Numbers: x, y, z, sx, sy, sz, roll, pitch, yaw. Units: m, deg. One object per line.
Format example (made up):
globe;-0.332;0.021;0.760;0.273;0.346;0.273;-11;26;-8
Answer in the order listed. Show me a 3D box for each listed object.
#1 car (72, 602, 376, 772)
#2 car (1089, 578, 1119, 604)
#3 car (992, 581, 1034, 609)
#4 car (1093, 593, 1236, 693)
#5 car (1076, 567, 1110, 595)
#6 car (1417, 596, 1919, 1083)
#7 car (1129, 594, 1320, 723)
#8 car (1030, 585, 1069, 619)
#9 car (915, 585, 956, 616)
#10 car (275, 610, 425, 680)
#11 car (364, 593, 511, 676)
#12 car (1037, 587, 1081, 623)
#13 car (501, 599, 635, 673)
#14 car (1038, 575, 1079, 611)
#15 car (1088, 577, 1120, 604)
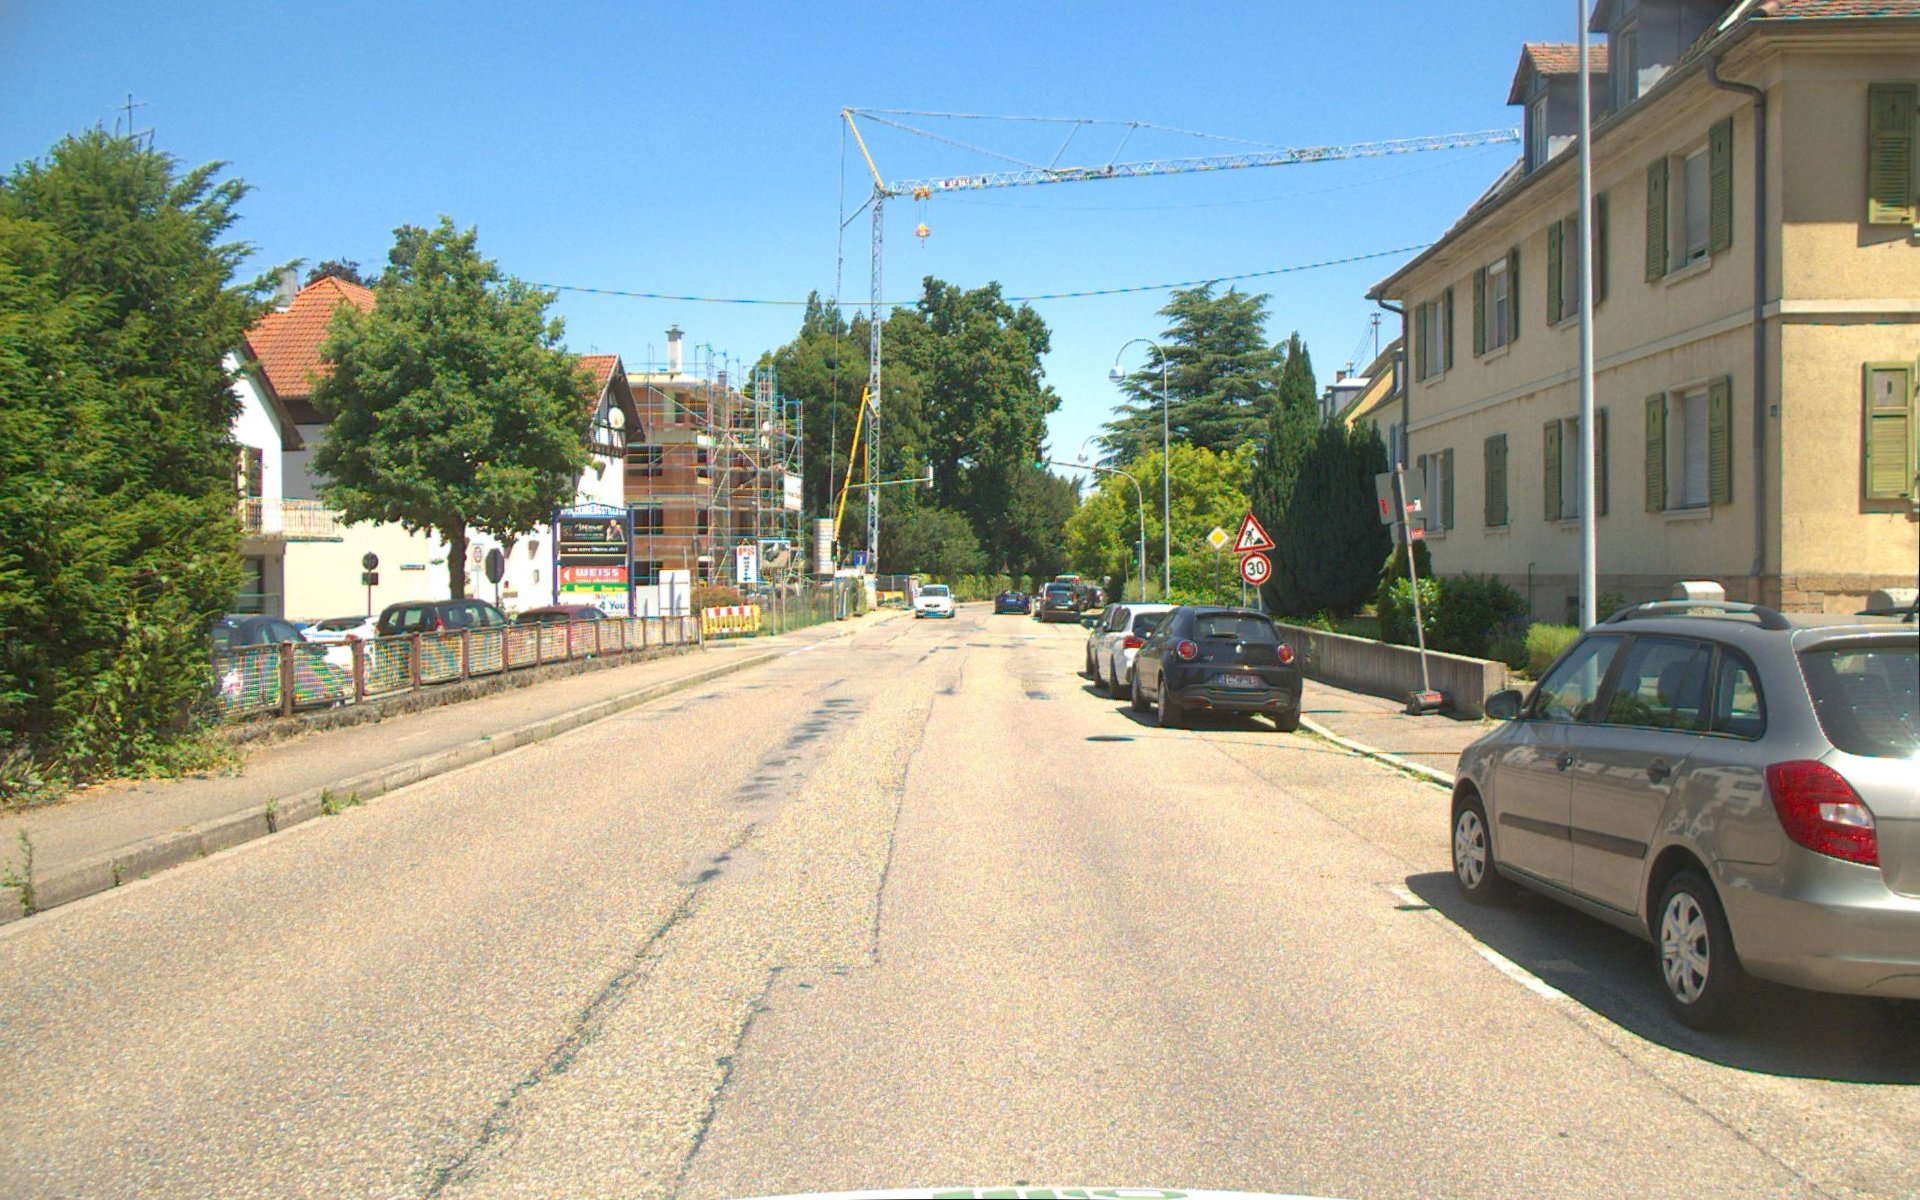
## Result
car;-7.838;0.853;17.981;1.740;1.624;3.534;-1;0;-1
car;9.829;-0.605;112.850;1.951;1.691;4.003;-1;0;6
car;2.938;-0.280;90.757;1.916;1.494;4.003;0;1;7
car;3.195;0.637;26.541;1.725;1.477;3.888;0;0;-2
car;8.318;-1.169;103.205;1.951;1.691;4.003;-1;0;6
car;3.489;0.733;7.231;1.725;1.477;4.222;0;0;-2
car;3.263;0.667;21.086;1.725;1.477;3.838;0;0;-2
car;4.645;0.078;85.593;1.952;1.691;4.002;-1;0;4
car;-1.164;0.001;80.710;1.724;1.477;3.841;0;0;3
car;-12.983;0.932;35.419;1.625;1.356;3.537;-1;0;5
car;-10.766;0.679;34.326;1.625;1.603;3.537;-1;0;5
car;4.536;0.217;75.497;1.952;1.601;4.002;-1;0;4
car;-8.043;0.706;34.213;1.625;1.413;3.537;-1;0;5
car;4.803;-0.350;80.390;1.952;1.691;4.002;-1;0;4
car;9.389;-0.590;107.913;1.951;1.691;4.003;-1;0;6
